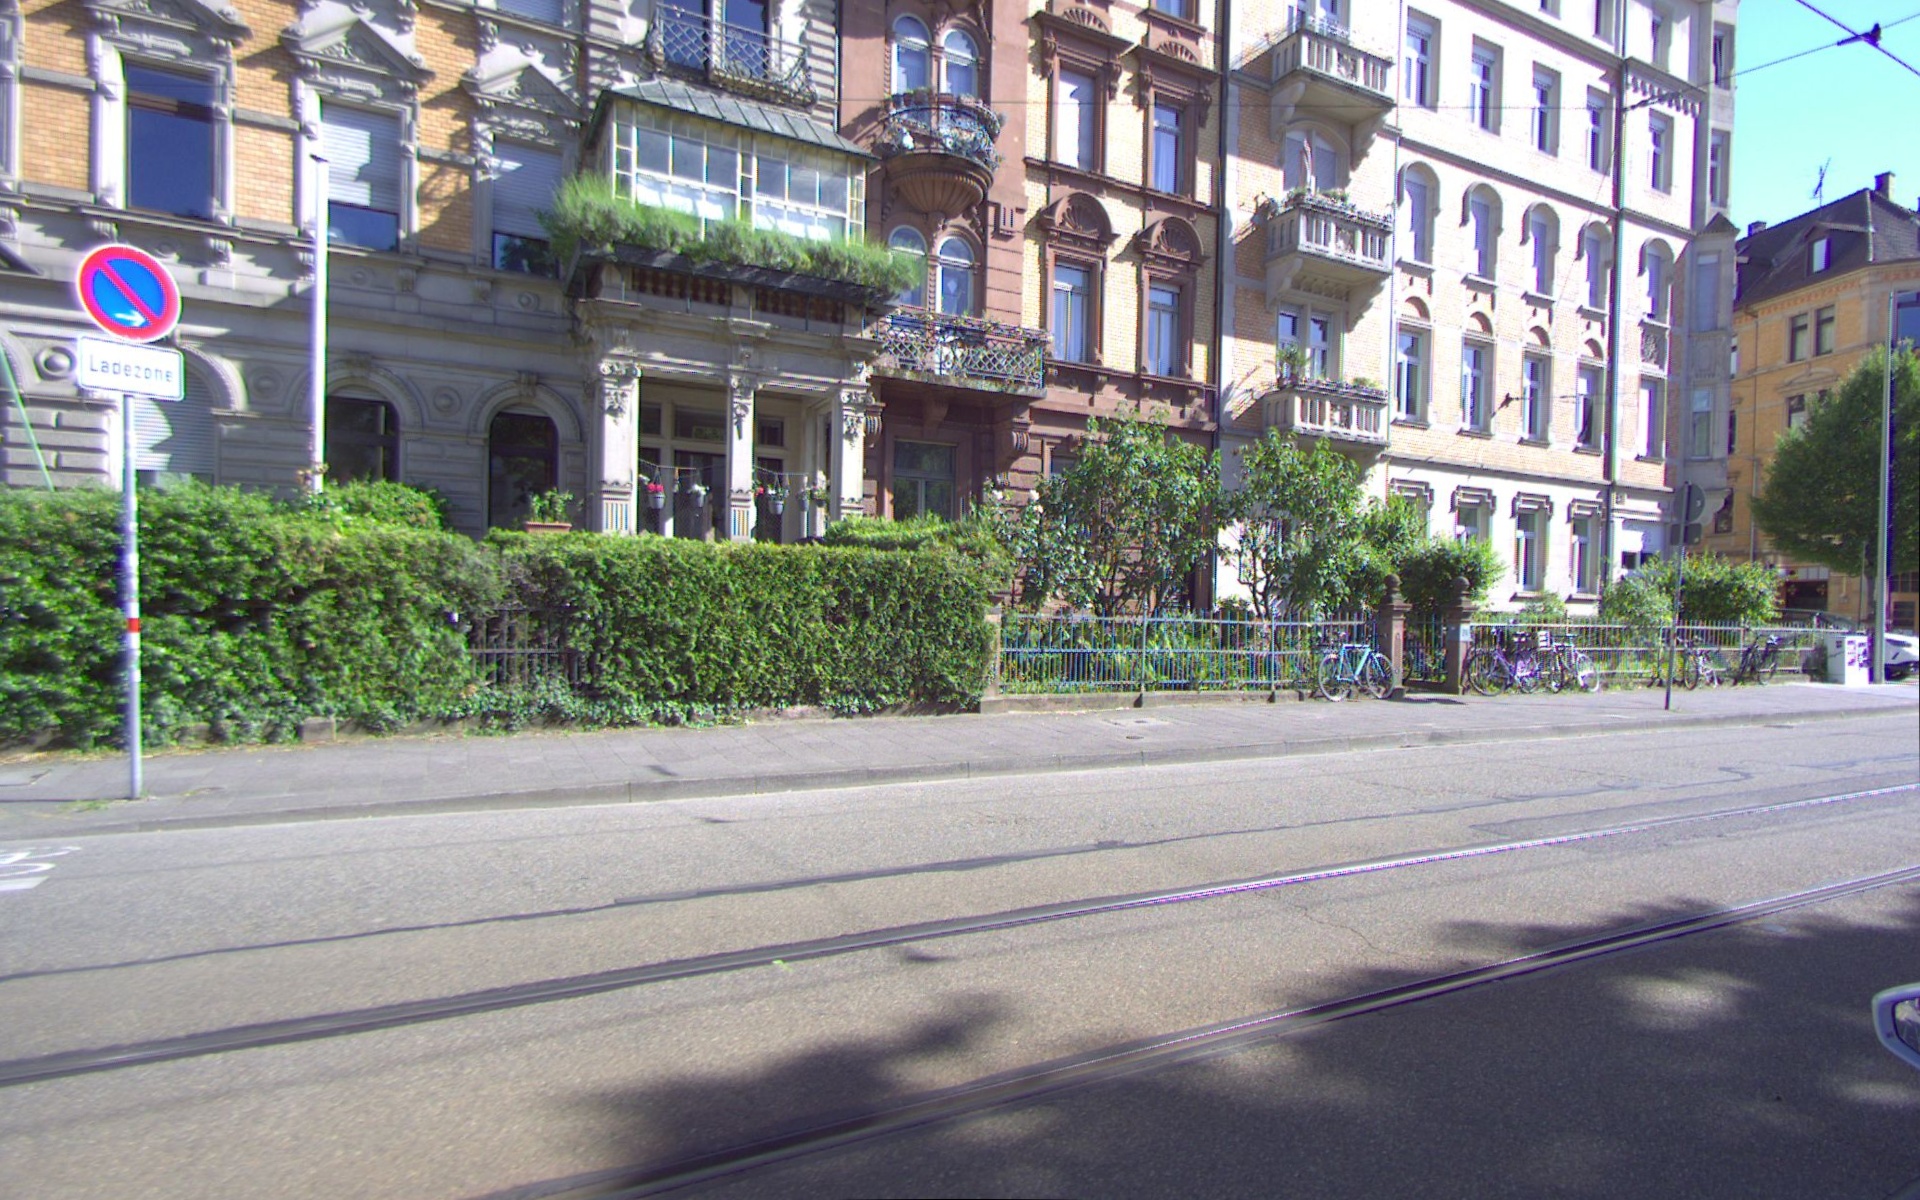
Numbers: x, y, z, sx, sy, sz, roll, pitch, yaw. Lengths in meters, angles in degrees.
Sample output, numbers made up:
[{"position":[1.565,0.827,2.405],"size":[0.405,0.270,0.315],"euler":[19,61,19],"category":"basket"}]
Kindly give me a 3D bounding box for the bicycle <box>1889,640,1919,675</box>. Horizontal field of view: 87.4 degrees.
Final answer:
[{"position":[26.976,1.635,27.778],"size":[1.755,0.926,0.620],"euler":[3,0,27],"category":"bicycle"}]

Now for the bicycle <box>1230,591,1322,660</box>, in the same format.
[{"position":[6.024,0.462,19.250],"size":[0.558,1.170,1.754],"euler":[1,4,-28],"category":"bicycle"}]

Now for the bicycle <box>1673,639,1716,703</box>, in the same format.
[{"position":[14.266,1.357,19.495],"size":[0.556,1.047,1.760],"euler":[6,5,37],"category":"bicycle"}]

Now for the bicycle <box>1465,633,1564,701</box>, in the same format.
[{"position":[9.247,1.094,16.745],"size":[1.746,1.047,0.560],"euler":[1,2,-29],"category":"bicycle"}]

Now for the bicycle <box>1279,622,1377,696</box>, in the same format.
[{"position":[6.127,0.954,16.811],"size":[0.473,1.047,1.568],"euler":[1,4,-28],"category":"bicycle"}]

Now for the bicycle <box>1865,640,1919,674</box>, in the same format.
[{"position":[27.781,1.676,29.751],"size":[1.268,0.926,0.621],"euler":[3,0,11],"category":"bicycle"}]

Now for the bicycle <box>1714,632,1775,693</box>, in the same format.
[{"position":[15.611,1.212,20.014],"size":[0.554,1.047,1.765],"euler":[2,2,26],"category":"bicycle"}]

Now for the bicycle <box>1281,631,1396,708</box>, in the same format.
[{"position":[5.675,1.019,15.040],"size":[1.745,1.047,0.561],"euler":[0,2,-28],"category":"bicycle"}]

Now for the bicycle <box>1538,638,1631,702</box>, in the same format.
[{"position":[10.974,1.206,17.635],"size":[1.746,1.047,0.560],"euler":[1,2,-29],"category":"bicycle"}]

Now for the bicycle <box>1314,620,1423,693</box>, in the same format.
[{"position":[7.001,0.943,17.304],"size":[0.558,1.047,1.740],"euler":[1,4,-28],"category":"bicycle"}]

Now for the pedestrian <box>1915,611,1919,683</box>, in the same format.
[{"position":[22.954,1.083,23.305],"size":[1.070,1.746,0.825],"euler":[2,1,-32],"category":"pedestrian"}]
